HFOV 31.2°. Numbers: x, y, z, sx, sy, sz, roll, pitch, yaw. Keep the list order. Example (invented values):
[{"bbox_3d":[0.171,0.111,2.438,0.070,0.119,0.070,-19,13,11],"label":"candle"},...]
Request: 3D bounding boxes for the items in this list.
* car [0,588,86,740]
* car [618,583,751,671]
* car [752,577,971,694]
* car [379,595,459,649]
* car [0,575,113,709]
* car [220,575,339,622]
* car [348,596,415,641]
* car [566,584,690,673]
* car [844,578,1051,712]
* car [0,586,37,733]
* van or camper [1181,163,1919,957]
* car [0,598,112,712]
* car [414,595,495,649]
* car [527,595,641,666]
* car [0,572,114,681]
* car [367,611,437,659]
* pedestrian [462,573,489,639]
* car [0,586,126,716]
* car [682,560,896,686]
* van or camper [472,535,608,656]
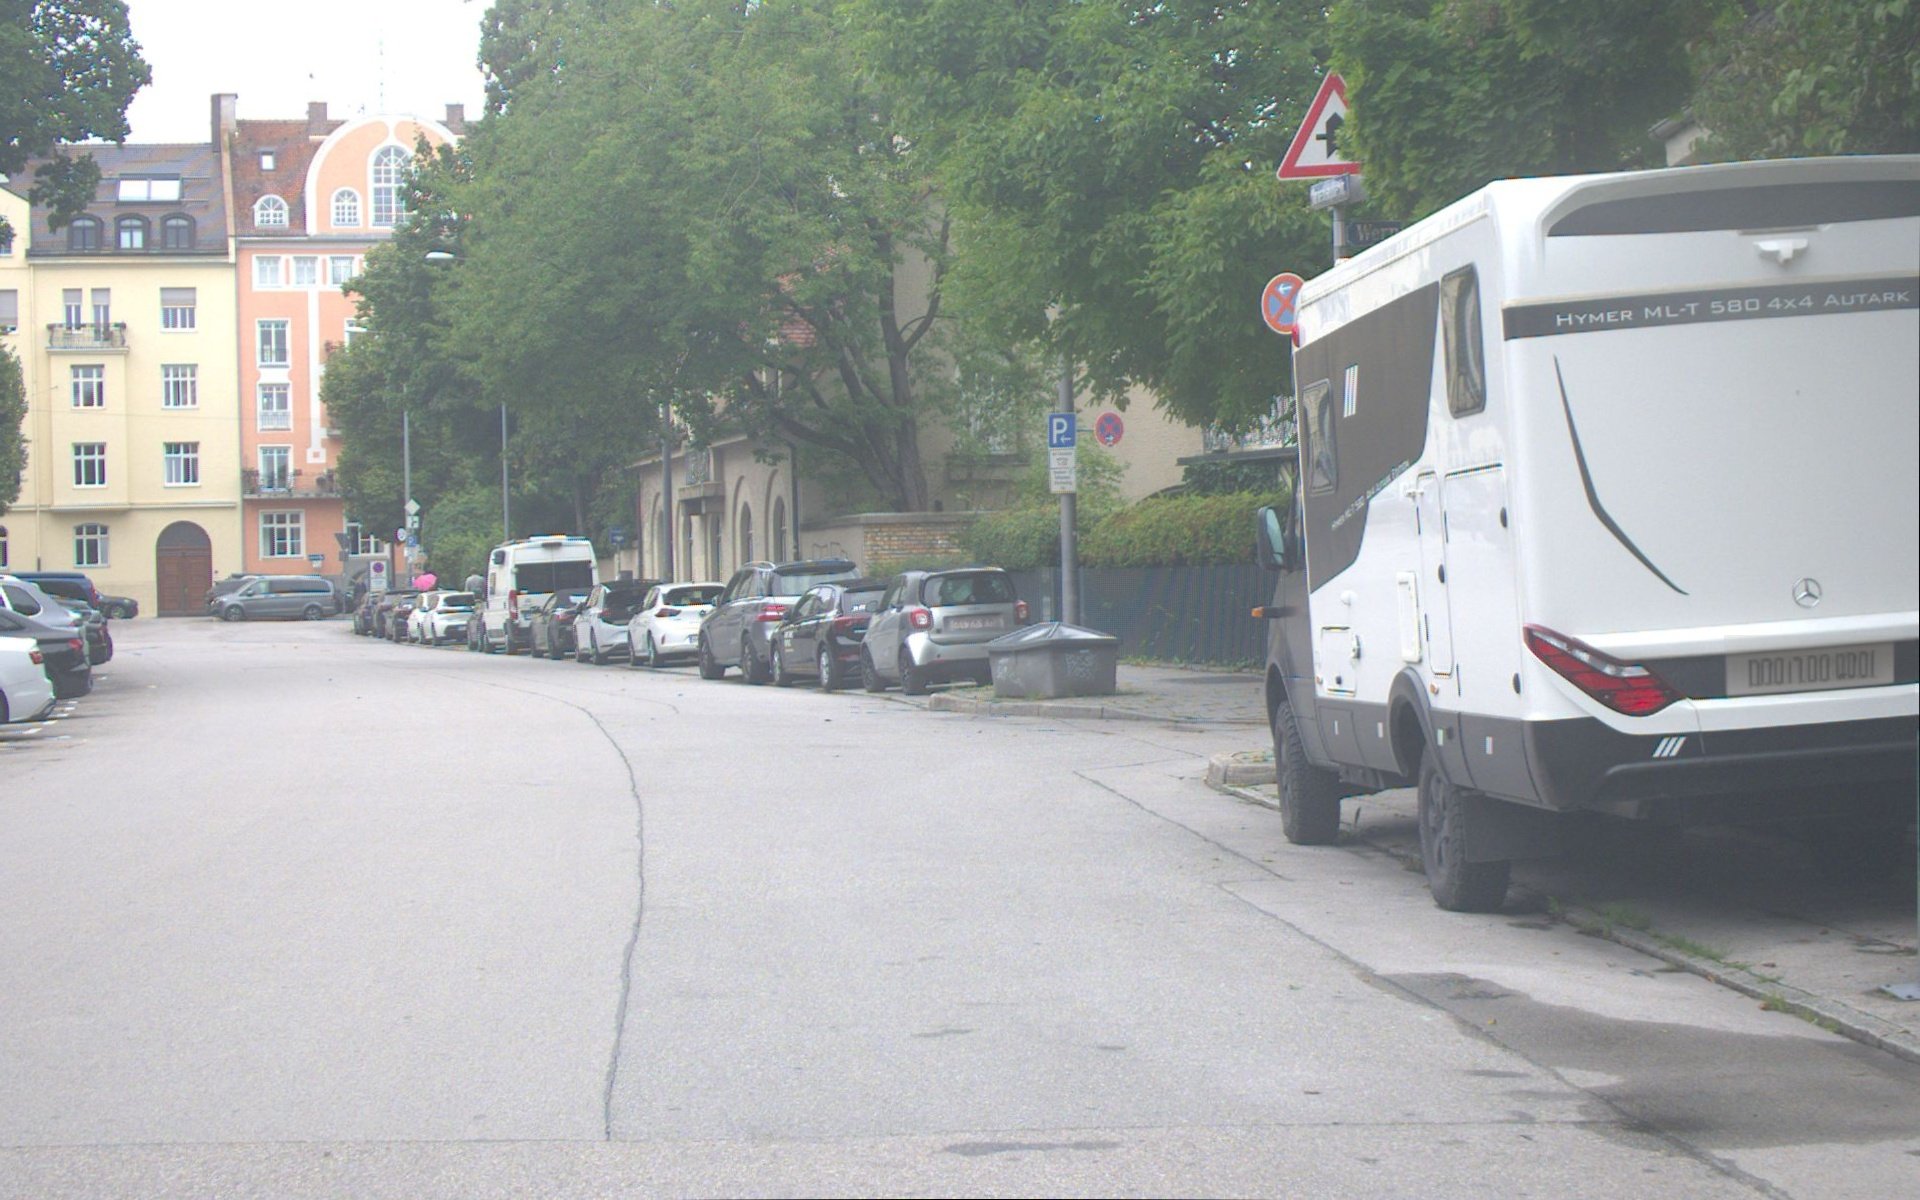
[{"bbox_3d":[-10.937,0.676,33.043,4.503,1.446,1.896,-2,0,-38],"label":"car"},{"bbox_3d":[-4.867,0.492,60.288,1.685,1.436,4.001,-2,0,-13],"label":"car"},{"bbox_3d":[-1.385,0.467,46.477,1.876,1.422,4.223,-3,0,-17],"label":"car"},{"bbox_3d":[-16.412,0.648,104.192,1.802,1.461,3.839,-2,2,-18],"label":"car"},{"bbox_3d":[-13.349,0.569,43.962,2.135,1.693,4.401,-2,-1,44],"label":"car"},{"bbox_3d":[-28.315,-0.062,143.061,4.702,1.874,1.841,0,0,-15],"label":"car"},{"bbox_3d":[-19.239,0.598,114.170,1.669,1.339,3.839,-2,2,-17],"label":"car"},{"bbox_3d":[-6.329,0.535,65.221,1.707,1.532,4.241,-3,0,-13],"label":"car"},{"bbox_3d":[-0.191,0.562,42.505,1.738,1.531,2.947,-3,0,-17],"label":"car"},{"bbox_3d":[-12.022,0.747,35.199,4.503,1.504,1.931,-4,1,-38],"label":"car"},{"bbox_3d":[2.773,-0.164,16.313,2.272,2.896,7.278,-1,0,-5],"label":"van or camper"},{"bbox_3d":[-14.889,0.836,50.174,4.398,1.615,2.086,-1,-1,-35],"label":"car"},{"bbox_3d":[-14.023,0.611,95.282,1.707,1.403,4.131,-2,0,-15],"label":"car"},{"bbox_3d":[-7.785,0.623,70.831,1.707,1.364,4.442,-2,0,-14],"label":"car"},{"bbox_3d":[-19.090,0.551,67.989,4.206,2.059,1.736,-3,0,-43],"label":"car"},{"bbox_3d":[-17.786,1.097,109.465,1.669,1.339,3.839,-2,2,-17],"label":"car"},{"bbox_3d":[-15.000,0.189,106.413,0.772,2.007,0.563,-1,0,-14],"label":"pedestrian"},{"bbox_3d":[-11.807,0.606,38.490,4.401,1.434,1.964,-1,-1,-45],"label":"car"},{"bbox_3d":[-2.603,0.337,50.962,1.993,1.705,4.886,-3,0,-17],"label":"car"},{"bbox_3d":[-9.516,-0.088,77.483,2.191,2.541,5.729,-2,0,-15],"label":"van or camper"}]
